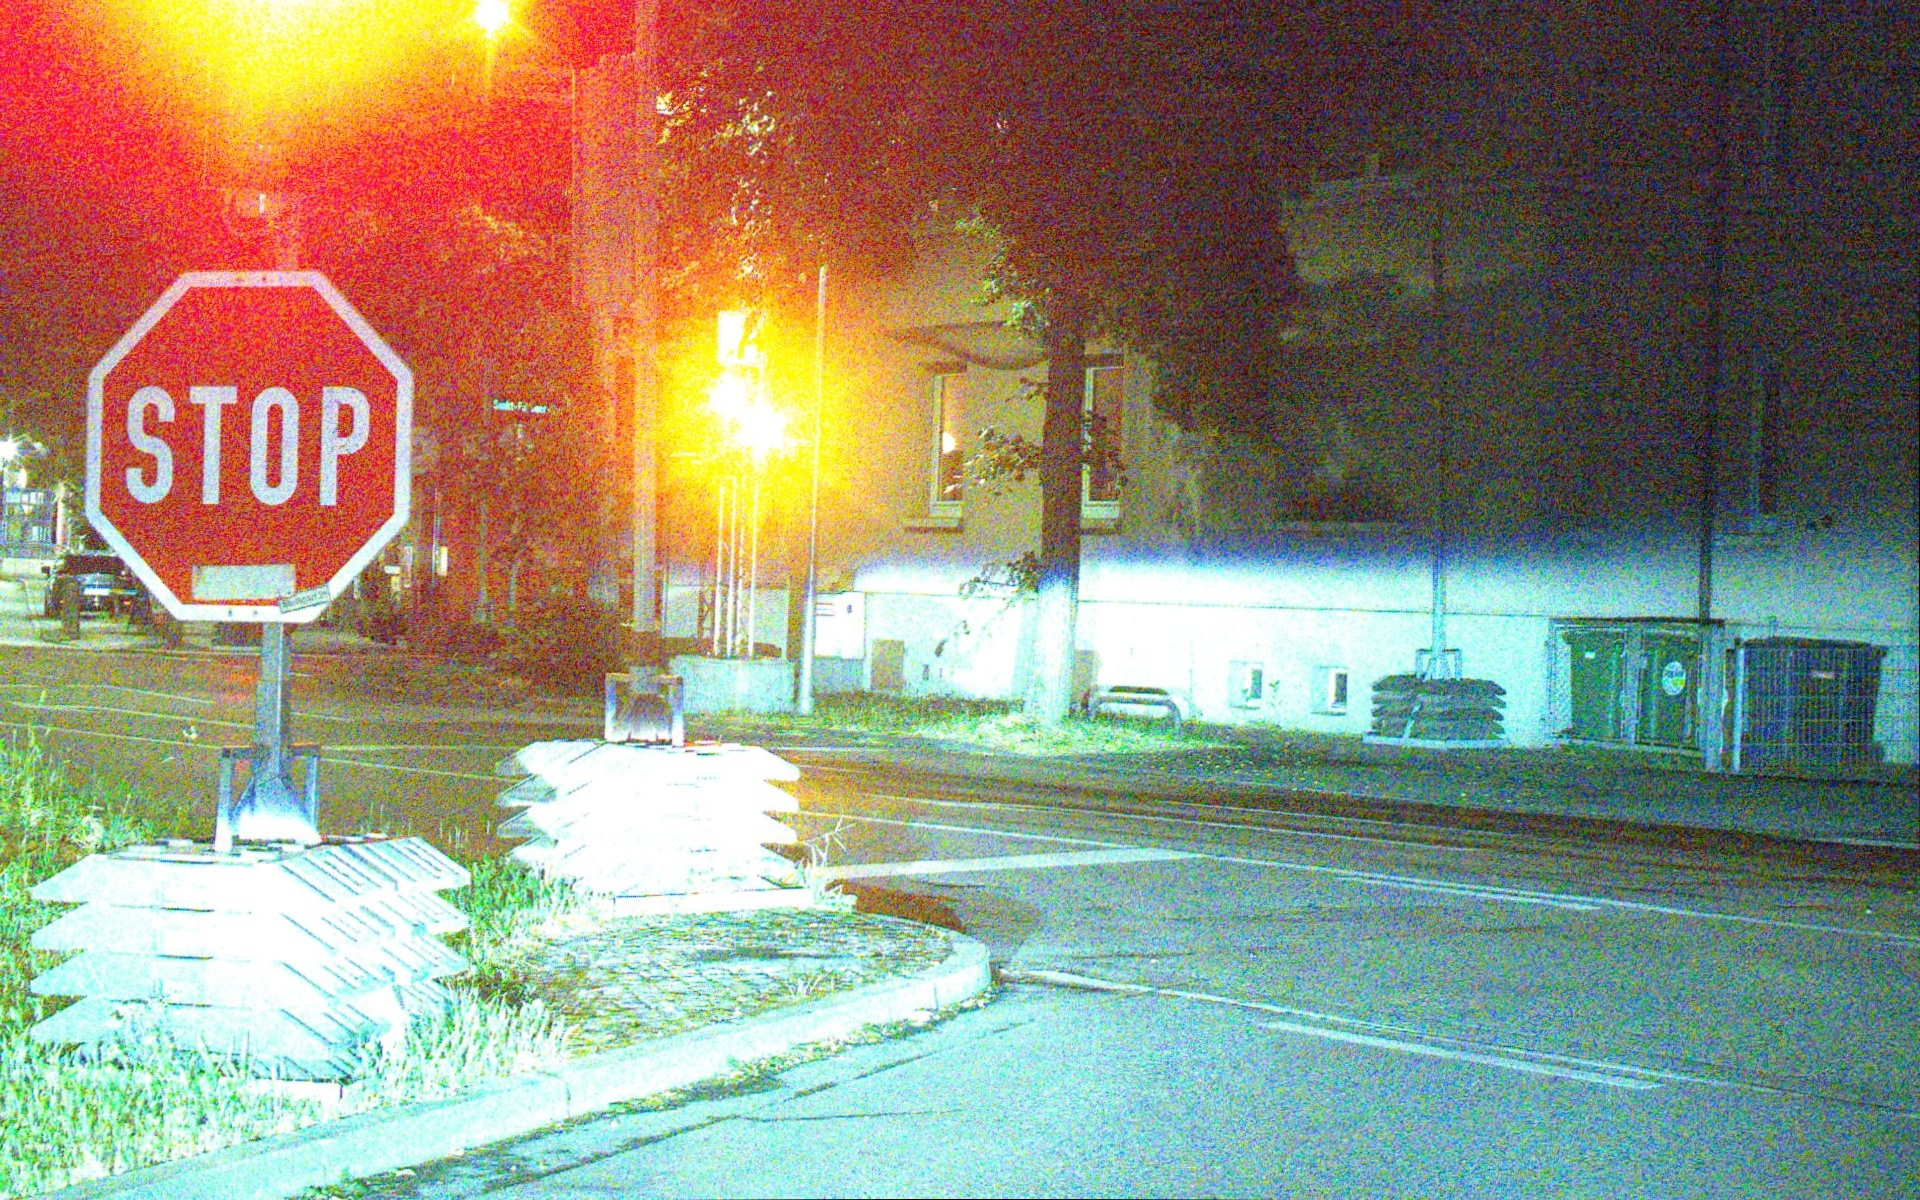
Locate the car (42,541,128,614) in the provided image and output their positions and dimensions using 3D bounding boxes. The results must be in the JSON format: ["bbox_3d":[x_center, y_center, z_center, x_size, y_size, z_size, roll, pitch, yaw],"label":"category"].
[{"bbox_3d":[-18.278,-0.488,71.890,1.651,1.426,4.001,2,1,-14],"label":"car"}]
